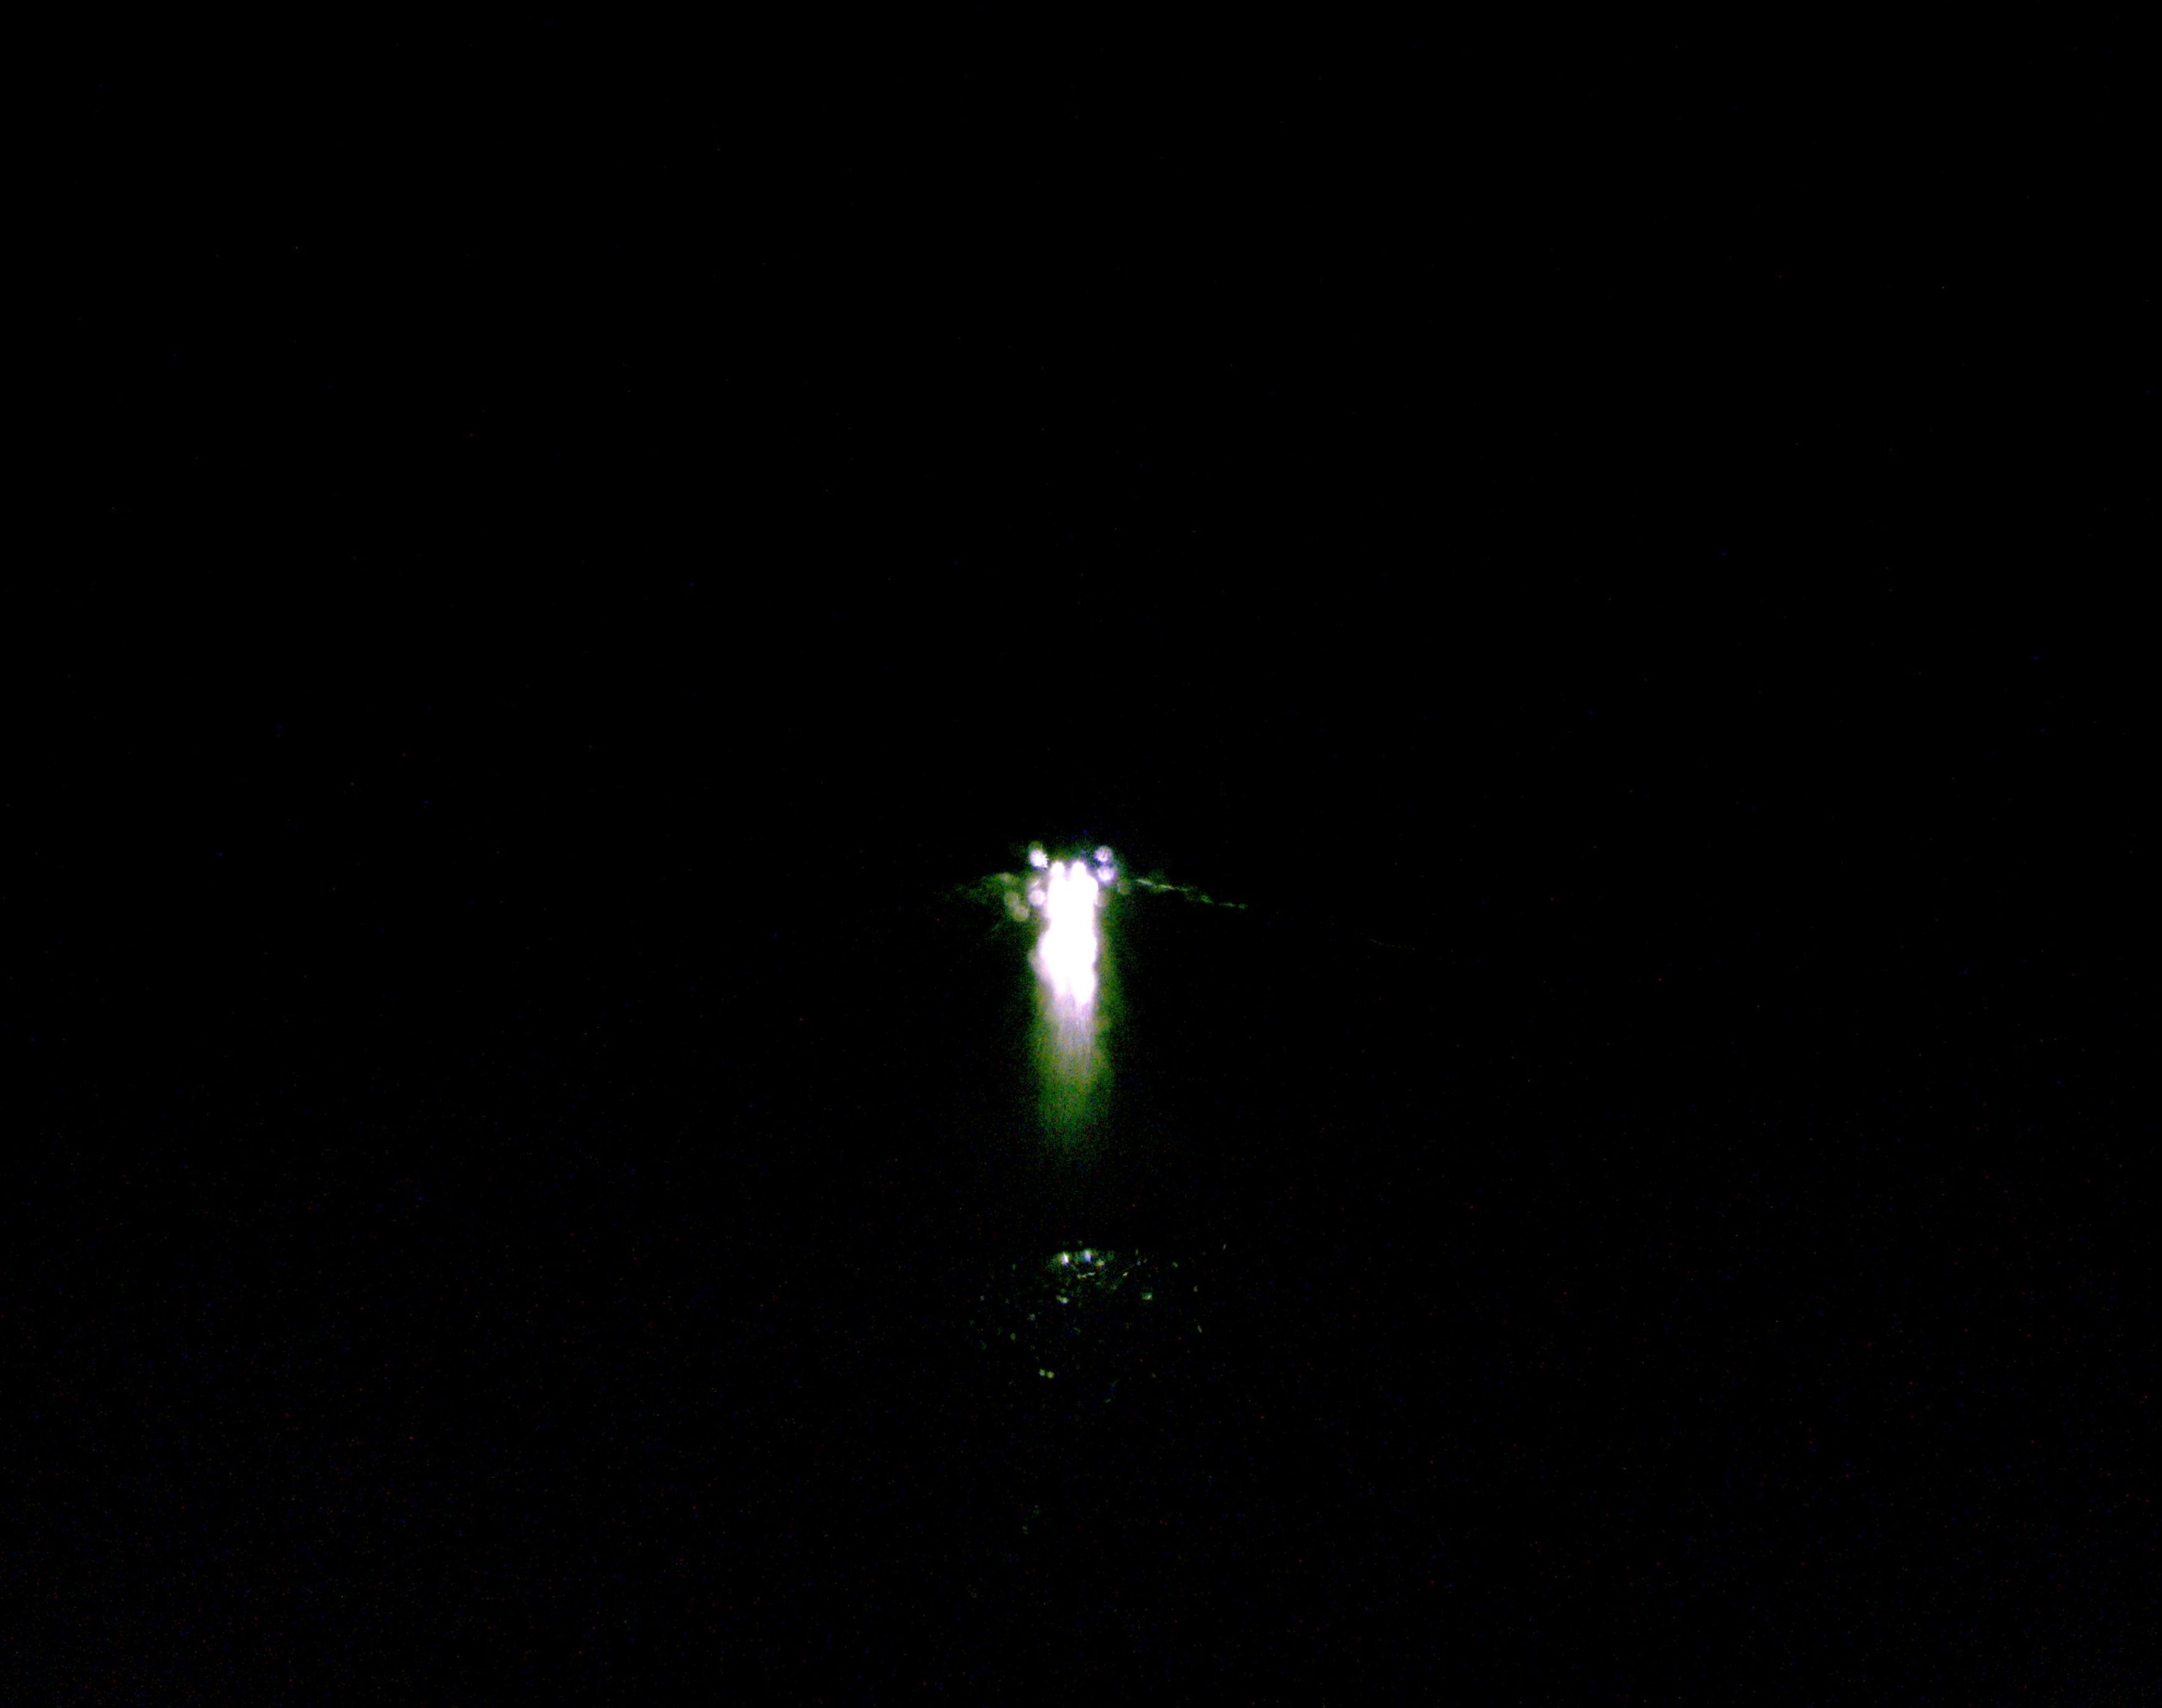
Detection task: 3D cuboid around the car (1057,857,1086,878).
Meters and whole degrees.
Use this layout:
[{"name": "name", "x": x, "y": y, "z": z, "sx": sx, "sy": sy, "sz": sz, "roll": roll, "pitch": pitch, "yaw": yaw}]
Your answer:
[{"name": "car", "x": -0.720, "y": 0.963, "z": 55.583, "sx": 1.999, "sy": 1.412, "sz": 3.999, "roll": -1, "pitch": 1, "yaw": -2}]
